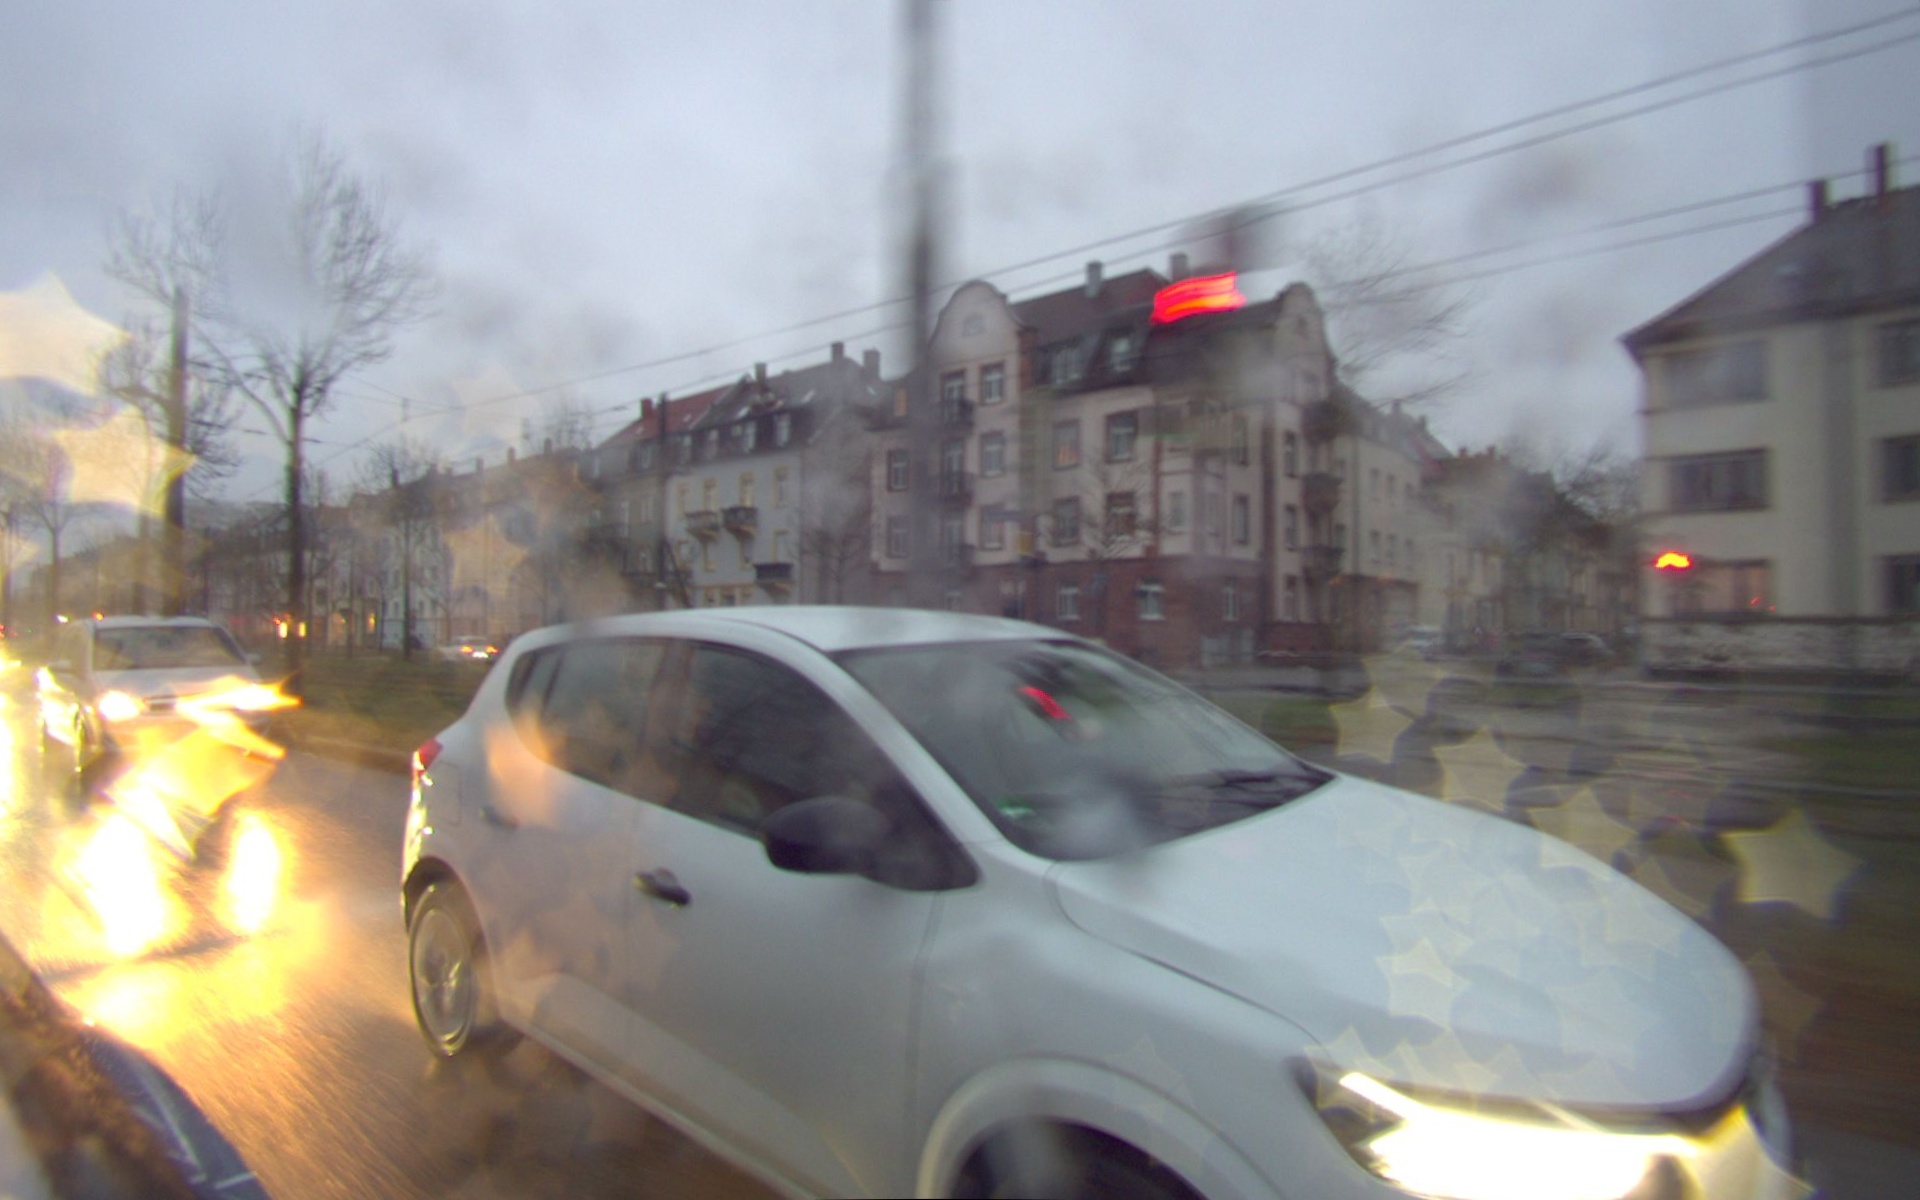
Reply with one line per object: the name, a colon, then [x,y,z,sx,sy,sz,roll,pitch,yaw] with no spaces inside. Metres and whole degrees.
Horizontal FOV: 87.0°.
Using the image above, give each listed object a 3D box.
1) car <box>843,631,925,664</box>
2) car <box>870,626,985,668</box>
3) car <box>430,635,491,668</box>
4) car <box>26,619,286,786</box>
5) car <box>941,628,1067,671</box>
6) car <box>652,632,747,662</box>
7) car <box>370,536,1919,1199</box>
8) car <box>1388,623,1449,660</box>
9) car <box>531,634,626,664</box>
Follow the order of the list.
car: [-2.981,1.822,39.448,2.870,0.997,1.800,-3,2,-14]
car: [-1.215,1.704,37.125,3.978,1.239,1.352,-3,2,-12]
car: [-25.588,2.605,51.802,3.782,1.516,1.529,-1,0,42]
car: [-9.168,1.010,11.431,3.905,1.531,1.617,-1,0,41]
car: [1.510,1.707,35.245,4.039,1.169,1.716,-3,2,-10]
car: [-12.309,2.216,48.108,4.198,1.267,1.837,-1,0,-8]
car: [0.012,0.708,2.829,3.999,1.485,1.671,-1,0,41]
car: [23.475,2.103,51.801,1.803,1.721,3.656,-1,0,42]
car: [-20.426,2.609,54.335,4.586,1.443,1.698,-1,0,-13]
